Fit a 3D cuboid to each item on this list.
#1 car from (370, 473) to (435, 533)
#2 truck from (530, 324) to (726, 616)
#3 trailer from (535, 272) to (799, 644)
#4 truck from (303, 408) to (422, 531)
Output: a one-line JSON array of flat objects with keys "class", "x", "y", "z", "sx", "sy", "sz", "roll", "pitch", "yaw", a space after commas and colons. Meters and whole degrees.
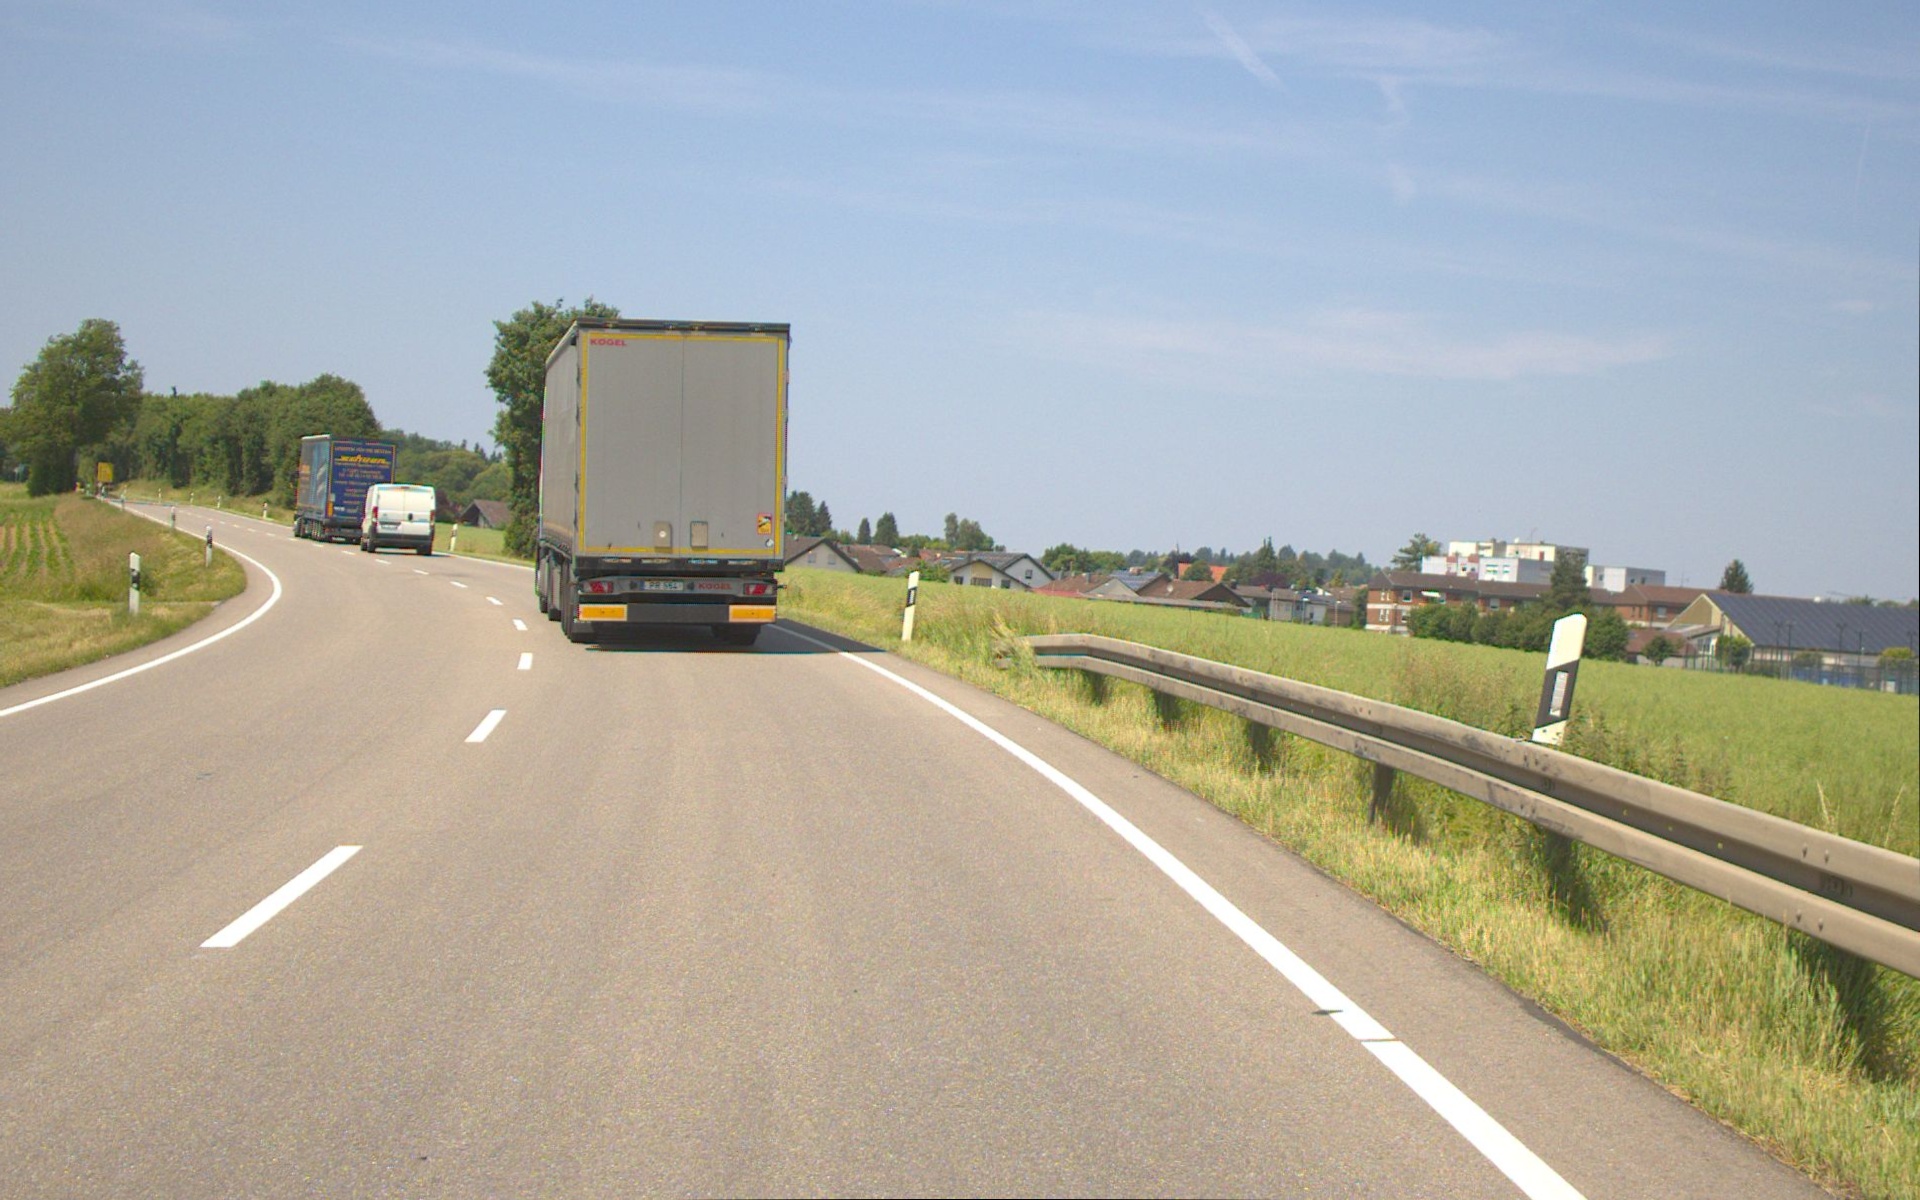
[{"class": "car", "x": -18.063, "y": -3.139, "z": 111.316, "sx": 1.725, "sy": 1.866, "sz": 4.001, "roll": 2, "pitch": 1, "yaw": -14}, {"class": "truck", "x": -5.317, "y": -2.023, "z": 54.432, "sx": 2.859, "sy": 4.385, "sz": 5.072, "roll": 0, "pitch": 1, "yaw": -8}, {"class": "trailer", "x": -4.301, "y": -1.844, "z": 47.469, "sx": 2.866, "sy": 4.385, "sz": 13.497, "roll": 0, "pitch": 1, "yaw": -8}, {"class": "truck", "x": -23.772, "y": -5.102, "z": 135.915, "sx": 3.548, "sy": 4.377, "sz": 18.128, "roll": 3, "pitch": 1, "yaw": -13}]
